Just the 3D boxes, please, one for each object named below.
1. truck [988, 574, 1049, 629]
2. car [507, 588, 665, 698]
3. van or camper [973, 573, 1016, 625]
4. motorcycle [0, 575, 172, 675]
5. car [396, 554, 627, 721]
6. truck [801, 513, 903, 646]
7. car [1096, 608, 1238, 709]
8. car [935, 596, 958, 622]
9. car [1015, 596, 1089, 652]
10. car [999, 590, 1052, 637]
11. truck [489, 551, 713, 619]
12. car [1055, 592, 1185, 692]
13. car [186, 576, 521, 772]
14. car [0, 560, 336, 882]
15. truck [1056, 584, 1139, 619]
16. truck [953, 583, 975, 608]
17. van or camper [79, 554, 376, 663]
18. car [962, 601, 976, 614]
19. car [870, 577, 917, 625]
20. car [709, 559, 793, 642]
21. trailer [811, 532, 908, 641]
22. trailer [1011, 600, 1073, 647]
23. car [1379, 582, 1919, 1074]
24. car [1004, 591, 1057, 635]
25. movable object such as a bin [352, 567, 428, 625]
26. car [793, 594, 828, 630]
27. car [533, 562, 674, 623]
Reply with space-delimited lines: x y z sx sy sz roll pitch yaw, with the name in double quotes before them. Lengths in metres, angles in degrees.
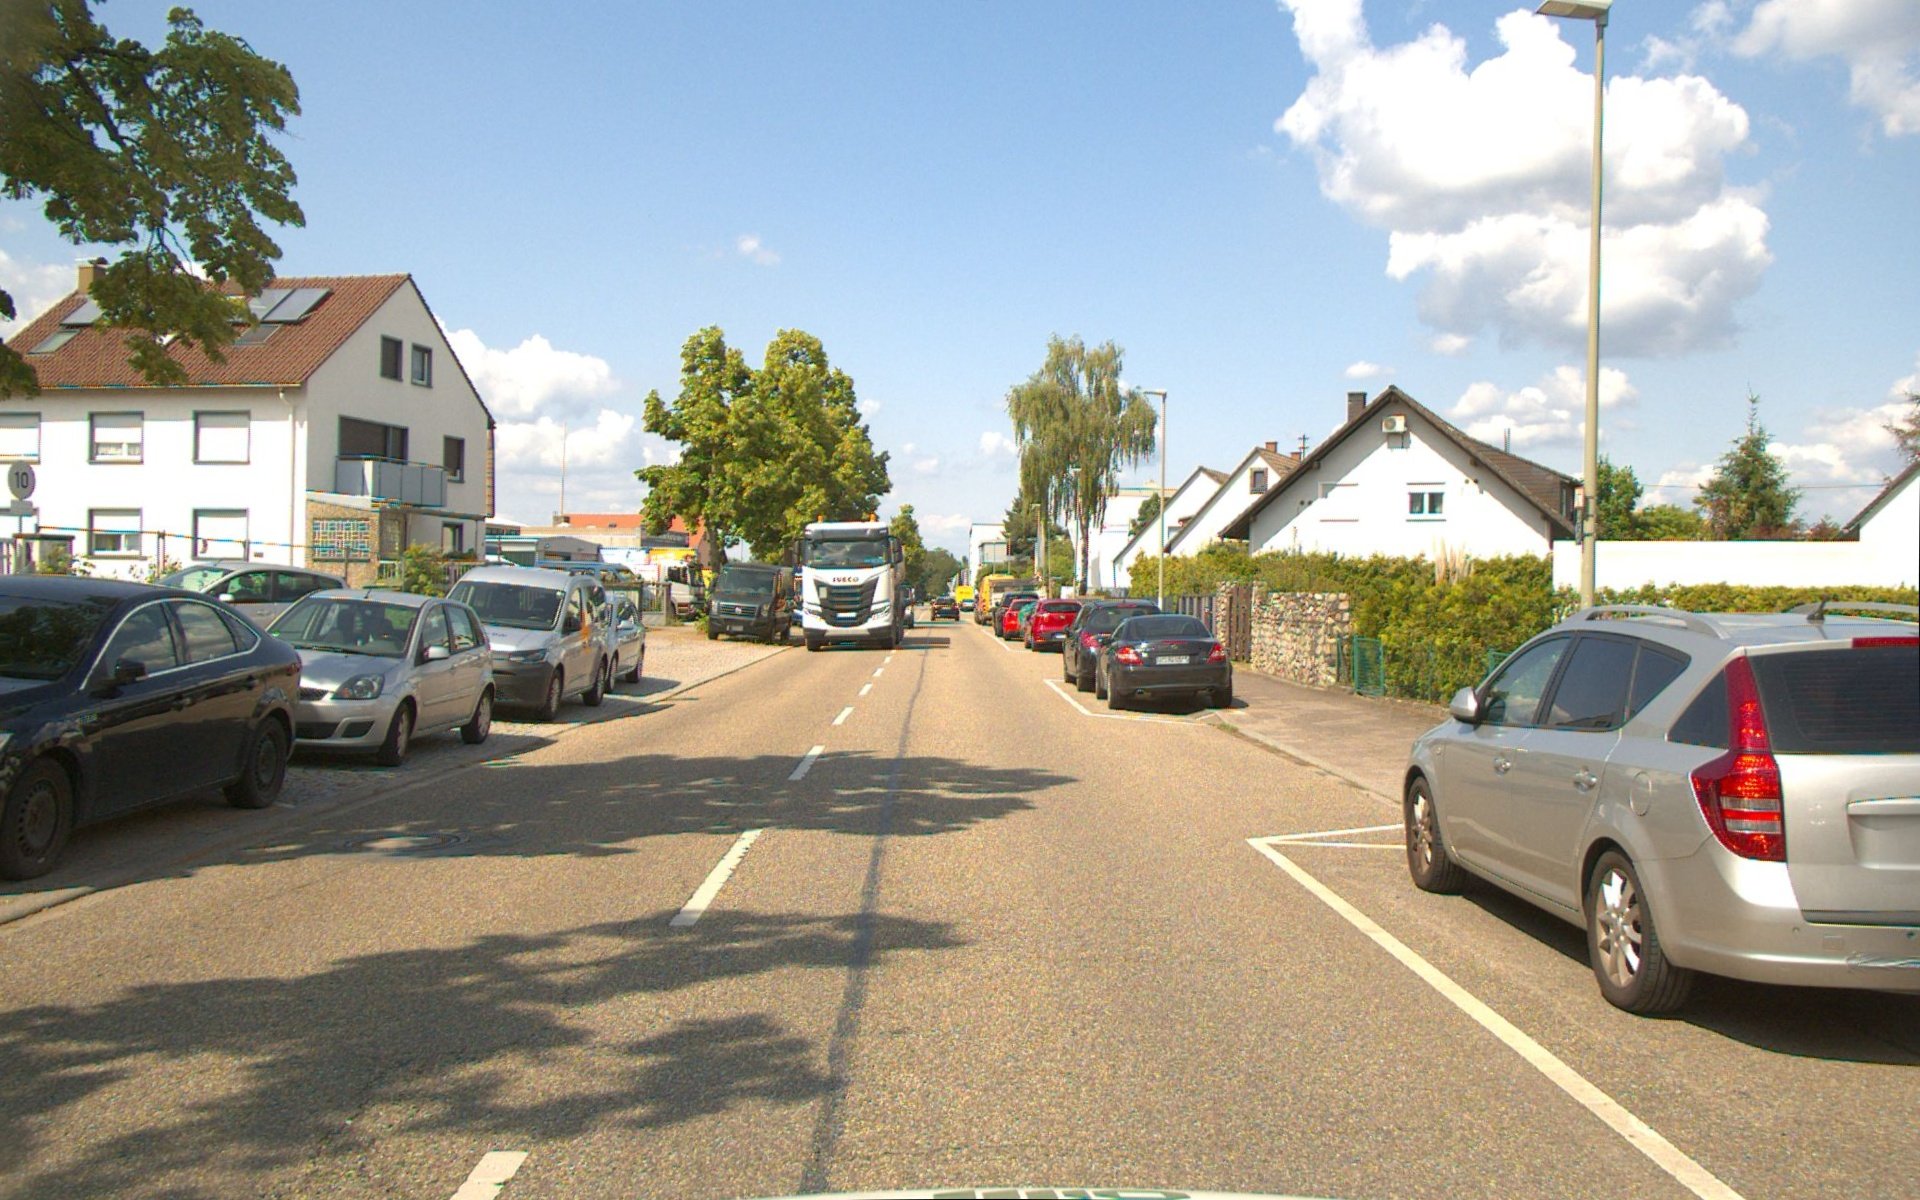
"truck" 2.548 0.051 73.275 2.470 2.339 5.894 0 0 0
"car" -6.118 0.644 27.572 1.714 1.486 4.706 4 1 -3
"van or camper" 1.850 -0.059 90.293 1.954 2.710 5.766 0 0 -3
"motorcycle" -12.086 0.334 22.819 2.050 1.271 0.677 2 0 -1
"car" -5.688 0.432 21.562 1.773 1.837 4.490 4 0 -1
"truck" -2.995 -0.567 47.306 2.717 3.560 5.879 0 0 -2
"car" 3.019 0.815 24.847 1.675 1.341 3.963 0 0 1
"car" -0.811 0.552 102.751 1.398 1.545 3.017 0 0 0
"car" 2.607 0.645 47.590 1.657 1.488 4.753 1 0 -2
"car" 2.452 0.484 62.640 1.792 1.691 4.553 1 0 0
"truck" -15.434 -0.642 71.496 9.064 2.906 2.722 0 0 3
"car" 2.764 0.684 29.386 1.708 1.578 4.120 2 0 -2
"car" -5.523 0.619 15.602 1.589 1.494 3.925 4 0 0
"car" -5.487 0.549 9.803 1.773 1.519 4.596 3 0 0
"truck" 10.532 0.129 126.643 5.967 2.622 2.544 0 0 -27
"truck" 0.511 -0.506 206.469 2.424 2.991 7.185 2 0 -2
"van or camper" -11.581 0.149 26.373 1.745 1.570 3.987 2 0 34
"car" 1.031 0.831 195.069 1.618 1.411 4.422 2 1 -1
"car" -2.991 0.045 75.553 2.009 2.070 5.140 -1 0 -1
"car" -6.242 -0.025 49.752 2.125 2.299 3.998 2 1 -3
"trailer" -3.143 -0.398 52.136 2.778 3.122 8.884 0 0 -3
"trailer" 2.545 0.705 52.254 1.575 1.402 4.431 1 0 -2
"car" 3.341 0.730 7.493 1.709 1.579 4.291 1 0 -1
"car" 2.429 0.438 57.592 1.650 1.460 4.146 1 0 0
"movable object such as a bin" -16.040 -0.123 46.624 1.281 1.456 1.605 1 6 15
"car" -6.596 0.529 73.009 1.221 1.545 3.366 0 0 0
"car" -13.695 -0.284 63.690 4.894 2.270 2.001 1 -1 12
